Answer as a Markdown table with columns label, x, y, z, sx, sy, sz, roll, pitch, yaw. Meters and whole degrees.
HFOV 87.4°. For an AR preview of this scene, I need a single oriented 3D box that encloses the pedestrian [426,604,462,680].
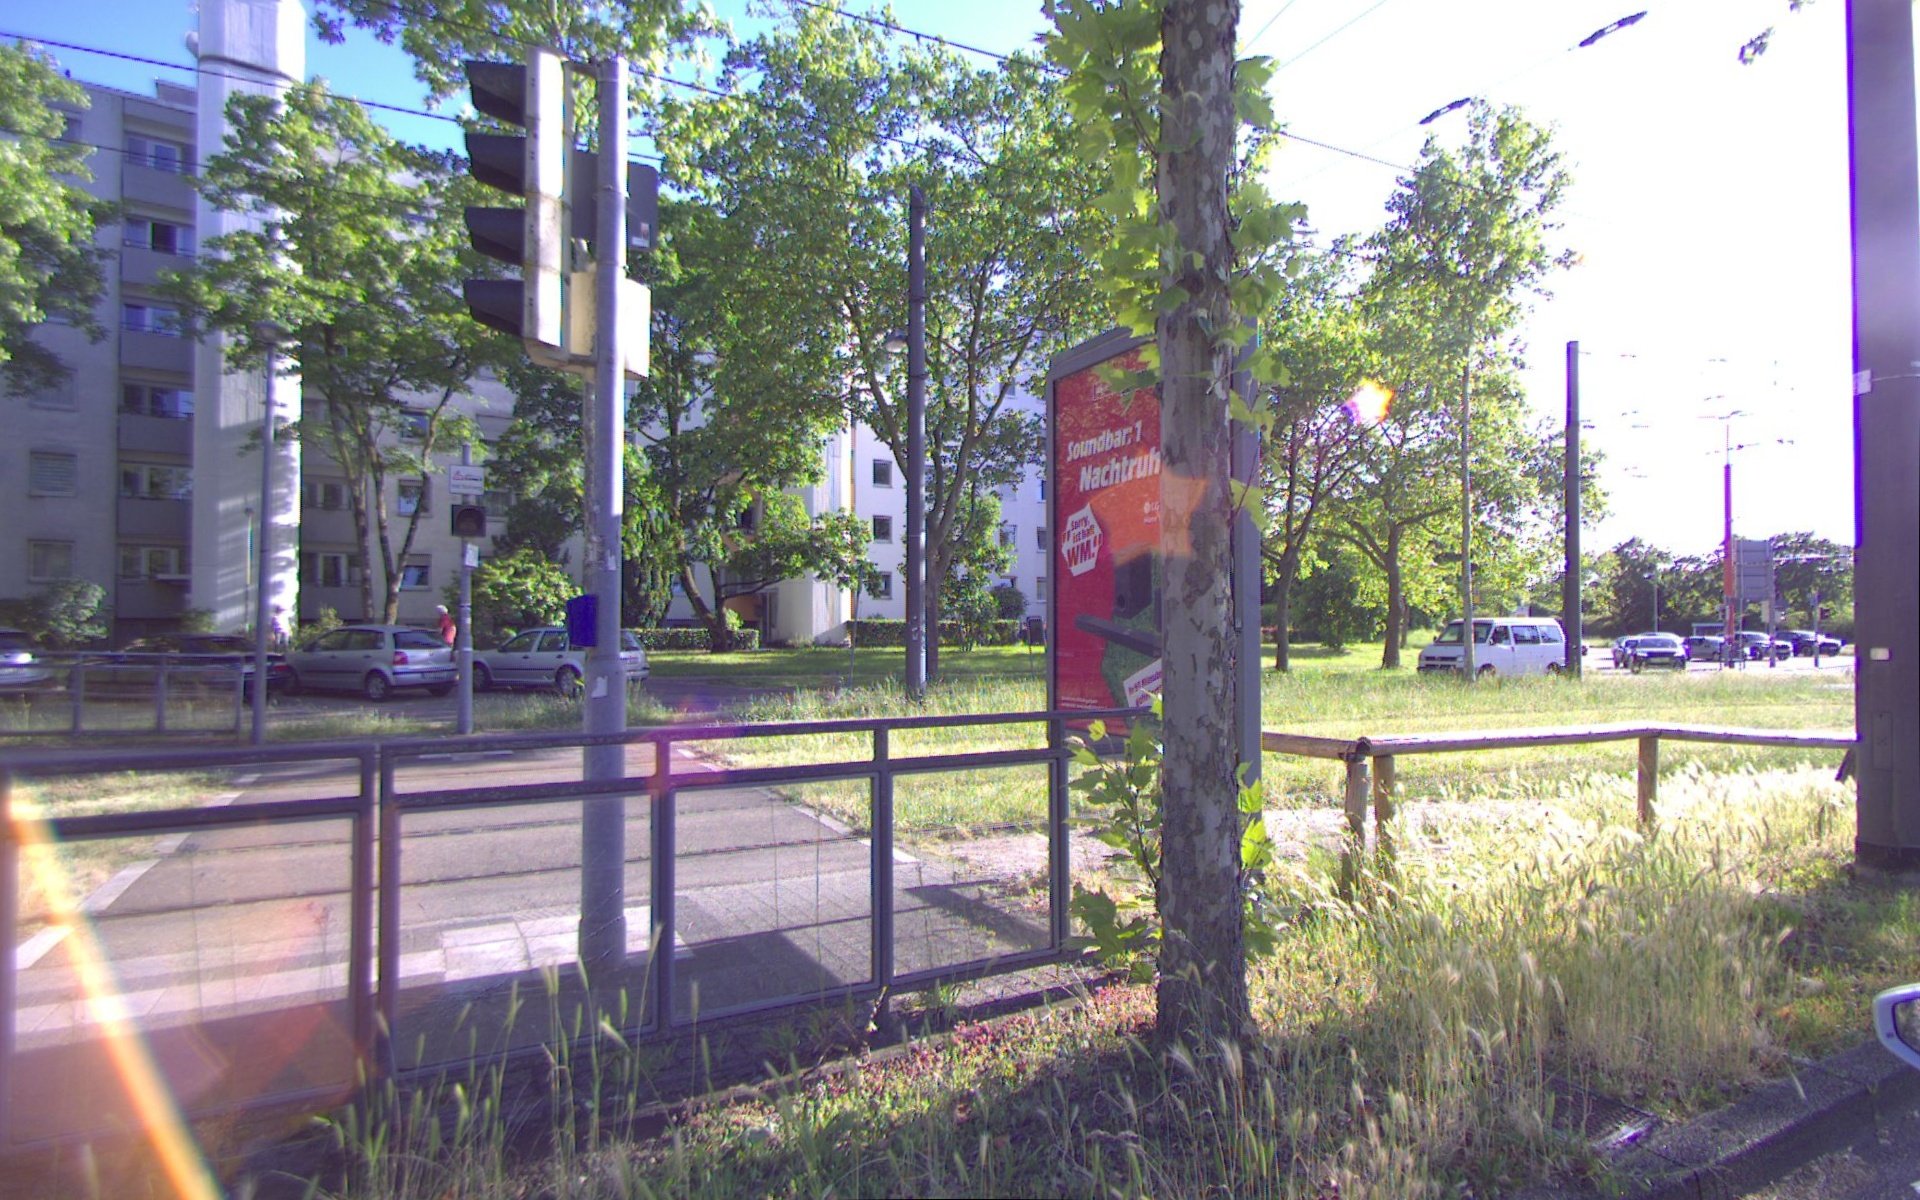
| label | x | y | z | sx | sy | sz | roll | pitch | yaw |
| --- | --- | --- | --- | --- | --- | --- | --- | --- | --- |
| pedestrian | -12.445 | 1.009 | 24.220 | 0.709 | 1.815 | 0.473 | 1 | -1 | -30 |

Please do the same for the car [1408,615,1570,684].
| label | x | y | z | sx | sy | sz | roll | pitch | yaw |
| --- | --- | --- | --- | --- | --- | --- | --- | --- | --- |
| car | 15.040 | 1.385 | 28.528 | 4.508 | 1.804 | 1.816 | 2 | -1 | -27 |

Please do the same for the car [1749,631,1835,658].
| label | x | y | z | sx | sy | sz | roll | pitch | yaw |
| --- | --- | --- | --- | --- | --- | --- | --- | --- | --- |
| car | 53.776 | 2.890 | 65.014 | 1.866 | 1.642 | 3.994 | -2 | -2 | -10 |

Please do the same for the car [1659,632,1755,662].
| label | x | y | z | sx | sy | sz | roll | pitch | yaw |
| --- | --- | --- | --- | --- | --- | --- | --- | --- | --- |
| car | 44.818 | 2.819 | 60.394 | 1.866 | 1.632 | 4.493 | -2 | -2 | -10 |

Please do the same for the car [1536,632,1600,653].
| label | x | y | z | sx | sy | sz | roll | pitch | yaw |
| --- | --- | --- | --- | --- | --- | --- | --- | --- | --- |
| car | 44.640 | 3.089 | 73.823 | 1.783 | 1.455 | 4.041 | -2 | -2 | -10 |

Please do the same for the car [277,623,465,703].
| label | x | y | z | sx | sy | sz | roll | pitch | yaw |
| --- | --- | --- | --- | --- | --- | --- | --- | --- | --- |
| car | -12.024 | 1.241 | 20.542 | 3.222 | 1.450 | 1.571 | 1 | -1 | 19 |

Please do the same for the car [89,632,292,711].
| label | x | y | z | sx | sy | sz | roll | pitch | yaw |
| --- | --- | --- | --- | --- | --- | --- | --- | --- | --- |
| car | -14.307 | 1.275 | 18.685 | 3.318 | 1.270 | 1.465 | 1 | -1 | 21 |

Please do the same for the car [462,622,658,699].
| label | x | y | z | sx | sy | sz | roll | pitch | yaw |
| --- | --- | --- | --- | --- | --- | --- | --- | --- | --- |
| car | -8.725 | 1.272 | 21.940 | 3.843 | 1.495 | 1.632 | 1 | -1 | 20 |

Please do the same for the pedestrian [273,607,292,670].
| label | x | y | z | sx | sy | sz | roll | pitch | yaw |
| --- | --- | --- | --- | --- | --- | --- | --- | --- | --- |
| pedestrian | -19.971 | 1.130 | 29.608 | 0.445 | 1.815 | 0.315 | 1 | -1 | -36 |

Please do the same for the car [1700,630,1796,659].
| label | x | y | z | sx | sy | sz | roll | pitch | yaw |
| --- | --- | --- | --- | --- | --- | --- | --- | --- | --- |
| car | 48.133 | 2.720 | 61.479 | 1.866 | 1.632 | 4.493 | -2 | -2 | -10 |

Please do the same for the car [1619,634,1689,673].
| label | x | y | z | sx | sy | sz | roll | pitch | yaw |
| --- | --- | --- | --- | --- | --- | --- | --- | --- | --- |
| car | 30.926 | 2.352 | 44.897 | 1.864 | 1.564 | 4.496 | 1 | -1 | 25 |

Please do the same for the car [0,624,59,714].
| label | x | y | z | sx | sy | sz | roll | pitch | yaw |
| --- | --- | --- | --- | --- | --- | --- | --- | --- | --- |
| car | -17.397 | 1.129 | 17.034 | 3.316 | 1.445 | 1.541 | 1 | -1 | 14 |
